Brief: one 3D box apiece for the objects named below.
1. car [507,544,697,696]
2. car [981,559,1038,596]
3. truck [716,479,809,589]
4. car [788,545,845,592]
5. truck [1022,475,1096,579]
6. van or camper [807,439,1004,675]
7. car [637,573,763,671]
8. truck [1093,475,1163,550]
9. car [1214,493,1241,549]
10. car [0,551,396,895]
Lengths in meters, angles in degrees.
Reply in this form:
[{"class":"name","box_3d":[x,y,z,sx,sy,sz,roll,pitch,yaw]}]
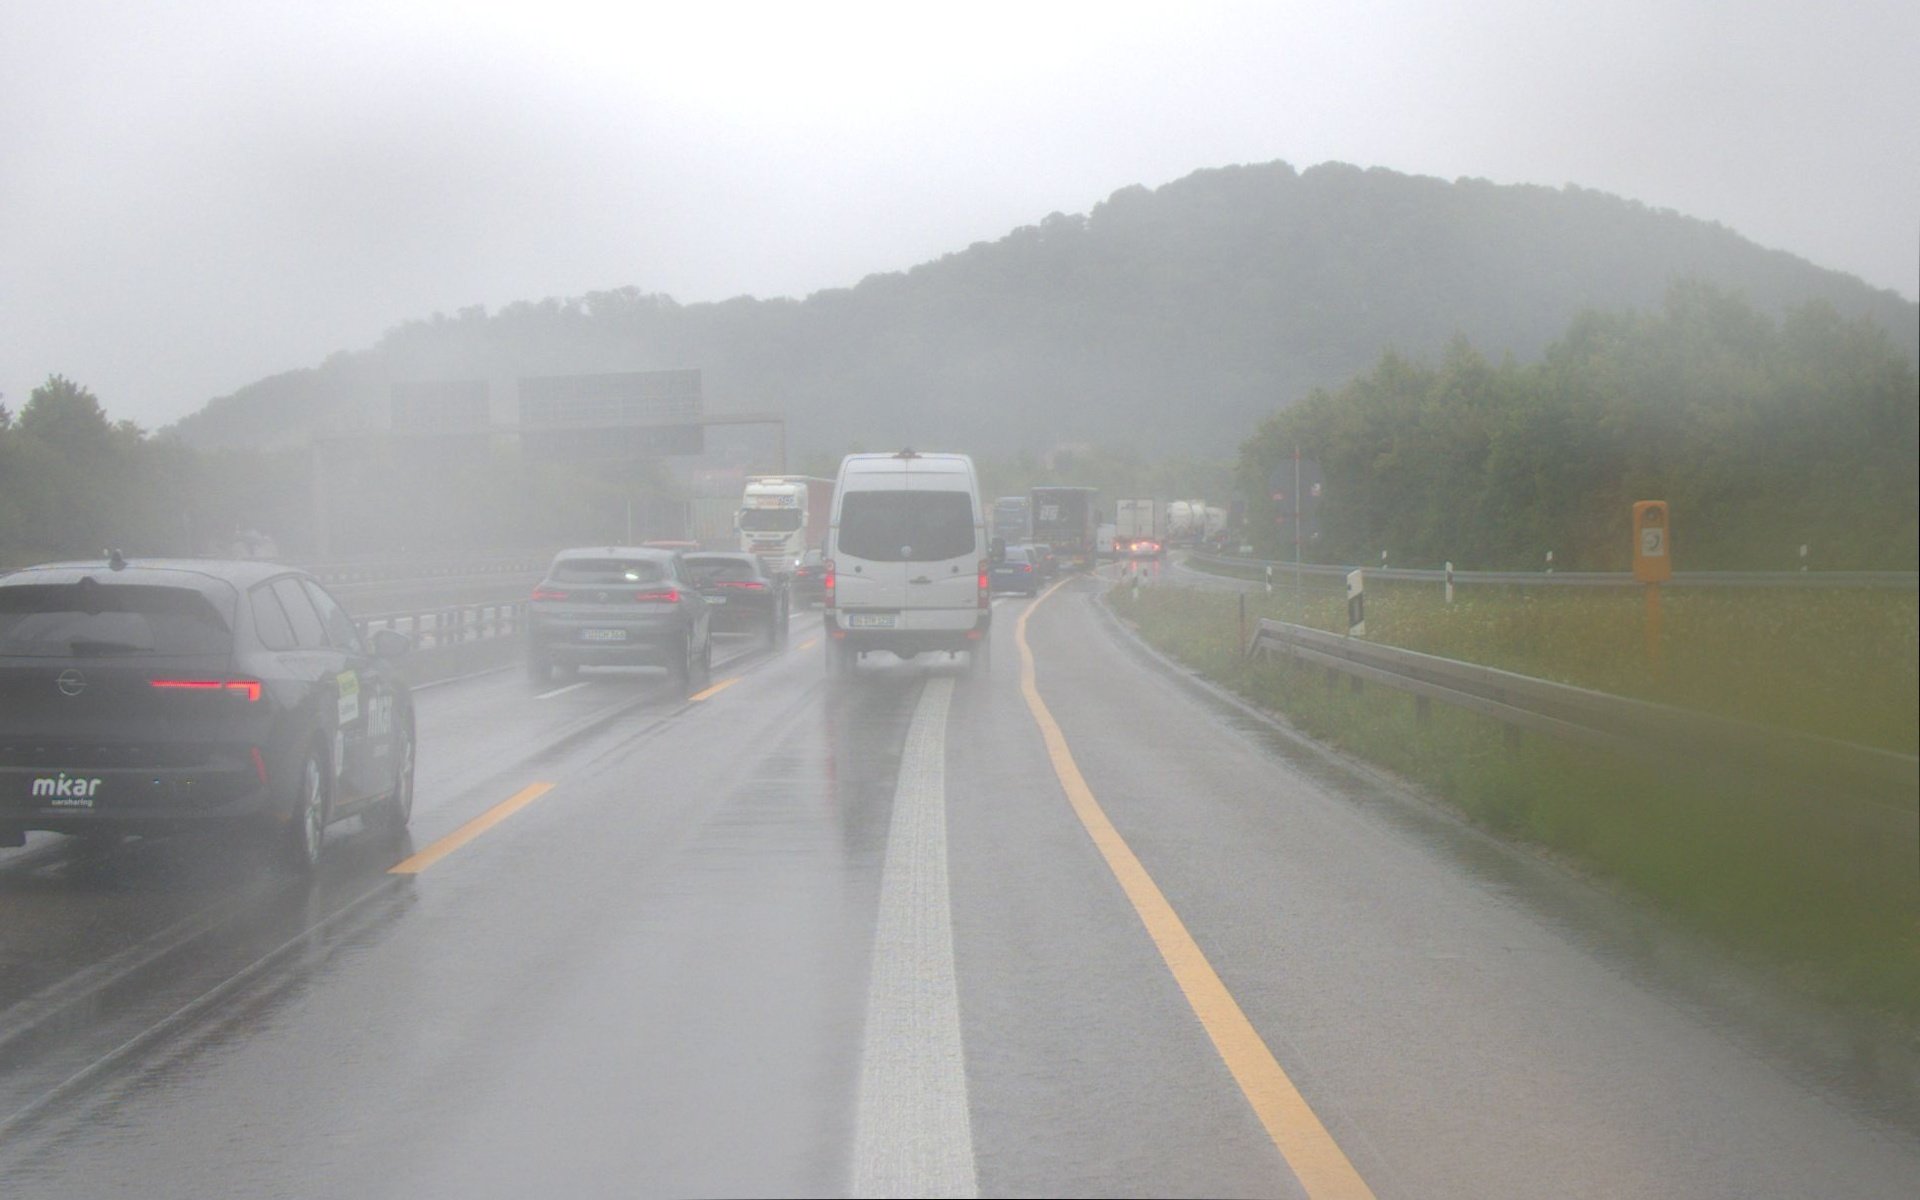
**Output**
[{"class":"car","box_3d":[-4.051,0.190,39.392,1.867,1.653,3.988,0,1,-2]},{"class":"car","box_3d":[1.441,-0.666,100.848,1.384,1.074,3.123,0,1,-4]},{"class":"truck","box_3d":[-7.800,-2.597,136.778,3.008,4.257,6.800,-1,1,2]},{"class":"car","box_3d":[-3.385,-0.755,81.350,1.262,1.074,3.255,0,1,-1]},{"class":"truck","box_3d":[4.796,-3.418,164.635,3.321,4.768,9.906,1,0,2]},{"class":"van or camper","box_3d":[-0.725,-0.529,41.930,2.139,2.712,4.649,0,1,-4]},{"class":"car","box_3d":[-4.165,0.325,55.646,1.852,1.495,4.000,0,1,-2]},{"class":"truck","box_3d":[11.330,-5.857,230.996,3.929,4.768,9.904,1,0,7]},{"class":"car","box_3d":[20.344,-5.989,261.380,2.058,4.177,6.745,0,1,5]},{"class":"car","box_3d":[-4.043,0.485,16.785,1.938,1.422,4.760,1,1,-2]}]
